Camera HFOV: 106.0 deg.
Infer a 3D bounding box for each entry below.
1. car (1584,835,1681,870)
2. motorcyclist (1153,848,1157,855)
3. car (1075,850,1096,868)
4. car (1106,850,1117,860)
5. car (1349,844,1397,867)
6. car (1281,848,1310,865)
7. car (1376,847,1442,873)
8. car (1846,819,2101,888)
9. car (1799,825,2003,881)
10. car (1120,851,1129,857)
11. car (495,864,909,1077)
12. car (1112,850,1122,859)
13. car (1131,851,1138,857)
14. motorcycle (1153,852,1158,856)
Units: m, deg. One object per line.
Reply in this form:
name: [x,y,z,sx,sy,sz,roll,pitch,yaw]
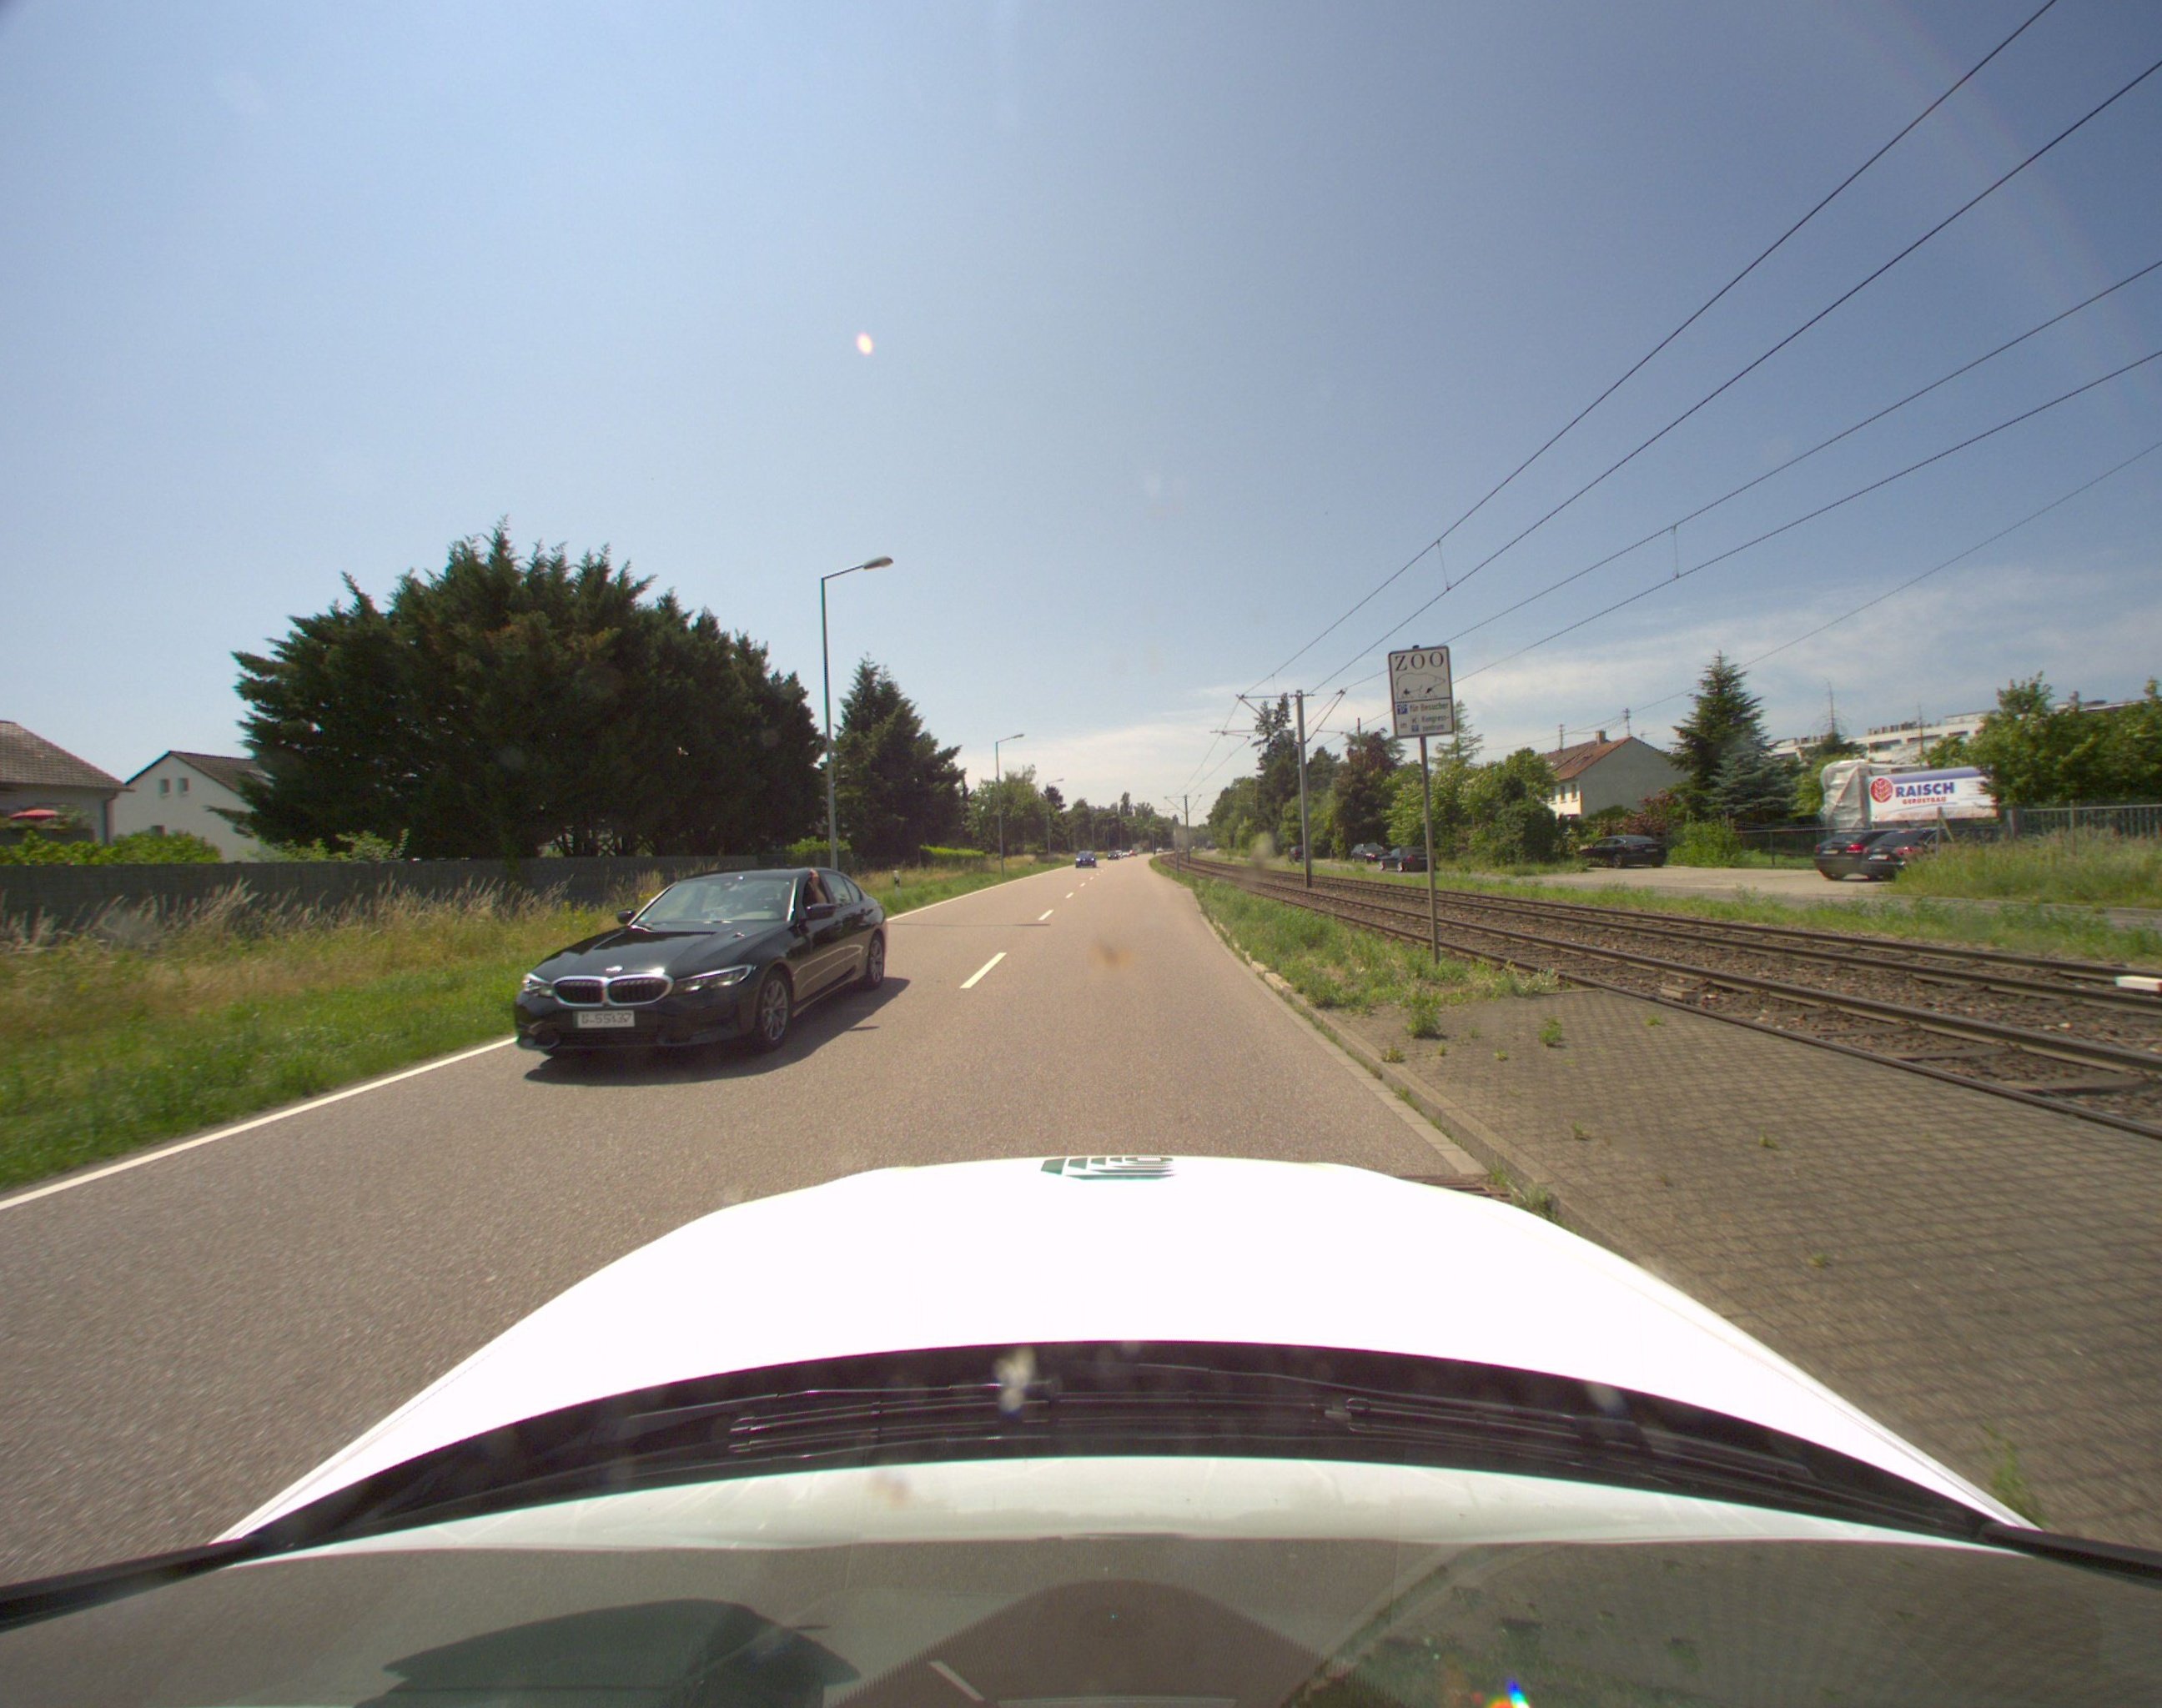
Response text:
car: [23.945,-0.069,35.518,1.714,1.419,3.740,-1,0,1]
motorcyclist: [19.492,-0.640,213.916,0.886,1.905,1.018,-2,0,8]
car: [0.453,0.457,77.984,1.739,1.632,4.033,-1,0,3]
car: [5.236,0.182,137.464,1.693,1.491,4.445,-1,0,4]
car: [21.052,0.134,58.909,1.927,1.561,4.557,-1,0,1]
car: [20.373,0.226,77.470,1.905,1.470,4.004,-1,0,4]
car: [17.928,0.312,44.706,1.854,1.330,4.516,-1,0,1]
car: [21.914,-0.008,20.173,3.965,1.517,1.903,-2,0,8]
car: [22.850,-0.028,22.822,3.712,1.419,1.900,-1,0,3]
car: [9.311,0.064,174.021,1.675,1.249,3.914,-1,0,4]
car: [-3.162,0.849,8.070,1.699,1.404,4.710,-1,0,2]
car: [6.860,0.080,154.522,1.739,1.503,3.711,-1,0,4]
car: [12.659,-0.086,192.233,1.741,1.301,4.258,-1,0,4]
motorcycle: [19.537,-0.058,214.023,0.964,1.117,2.739,-2,0,8]
